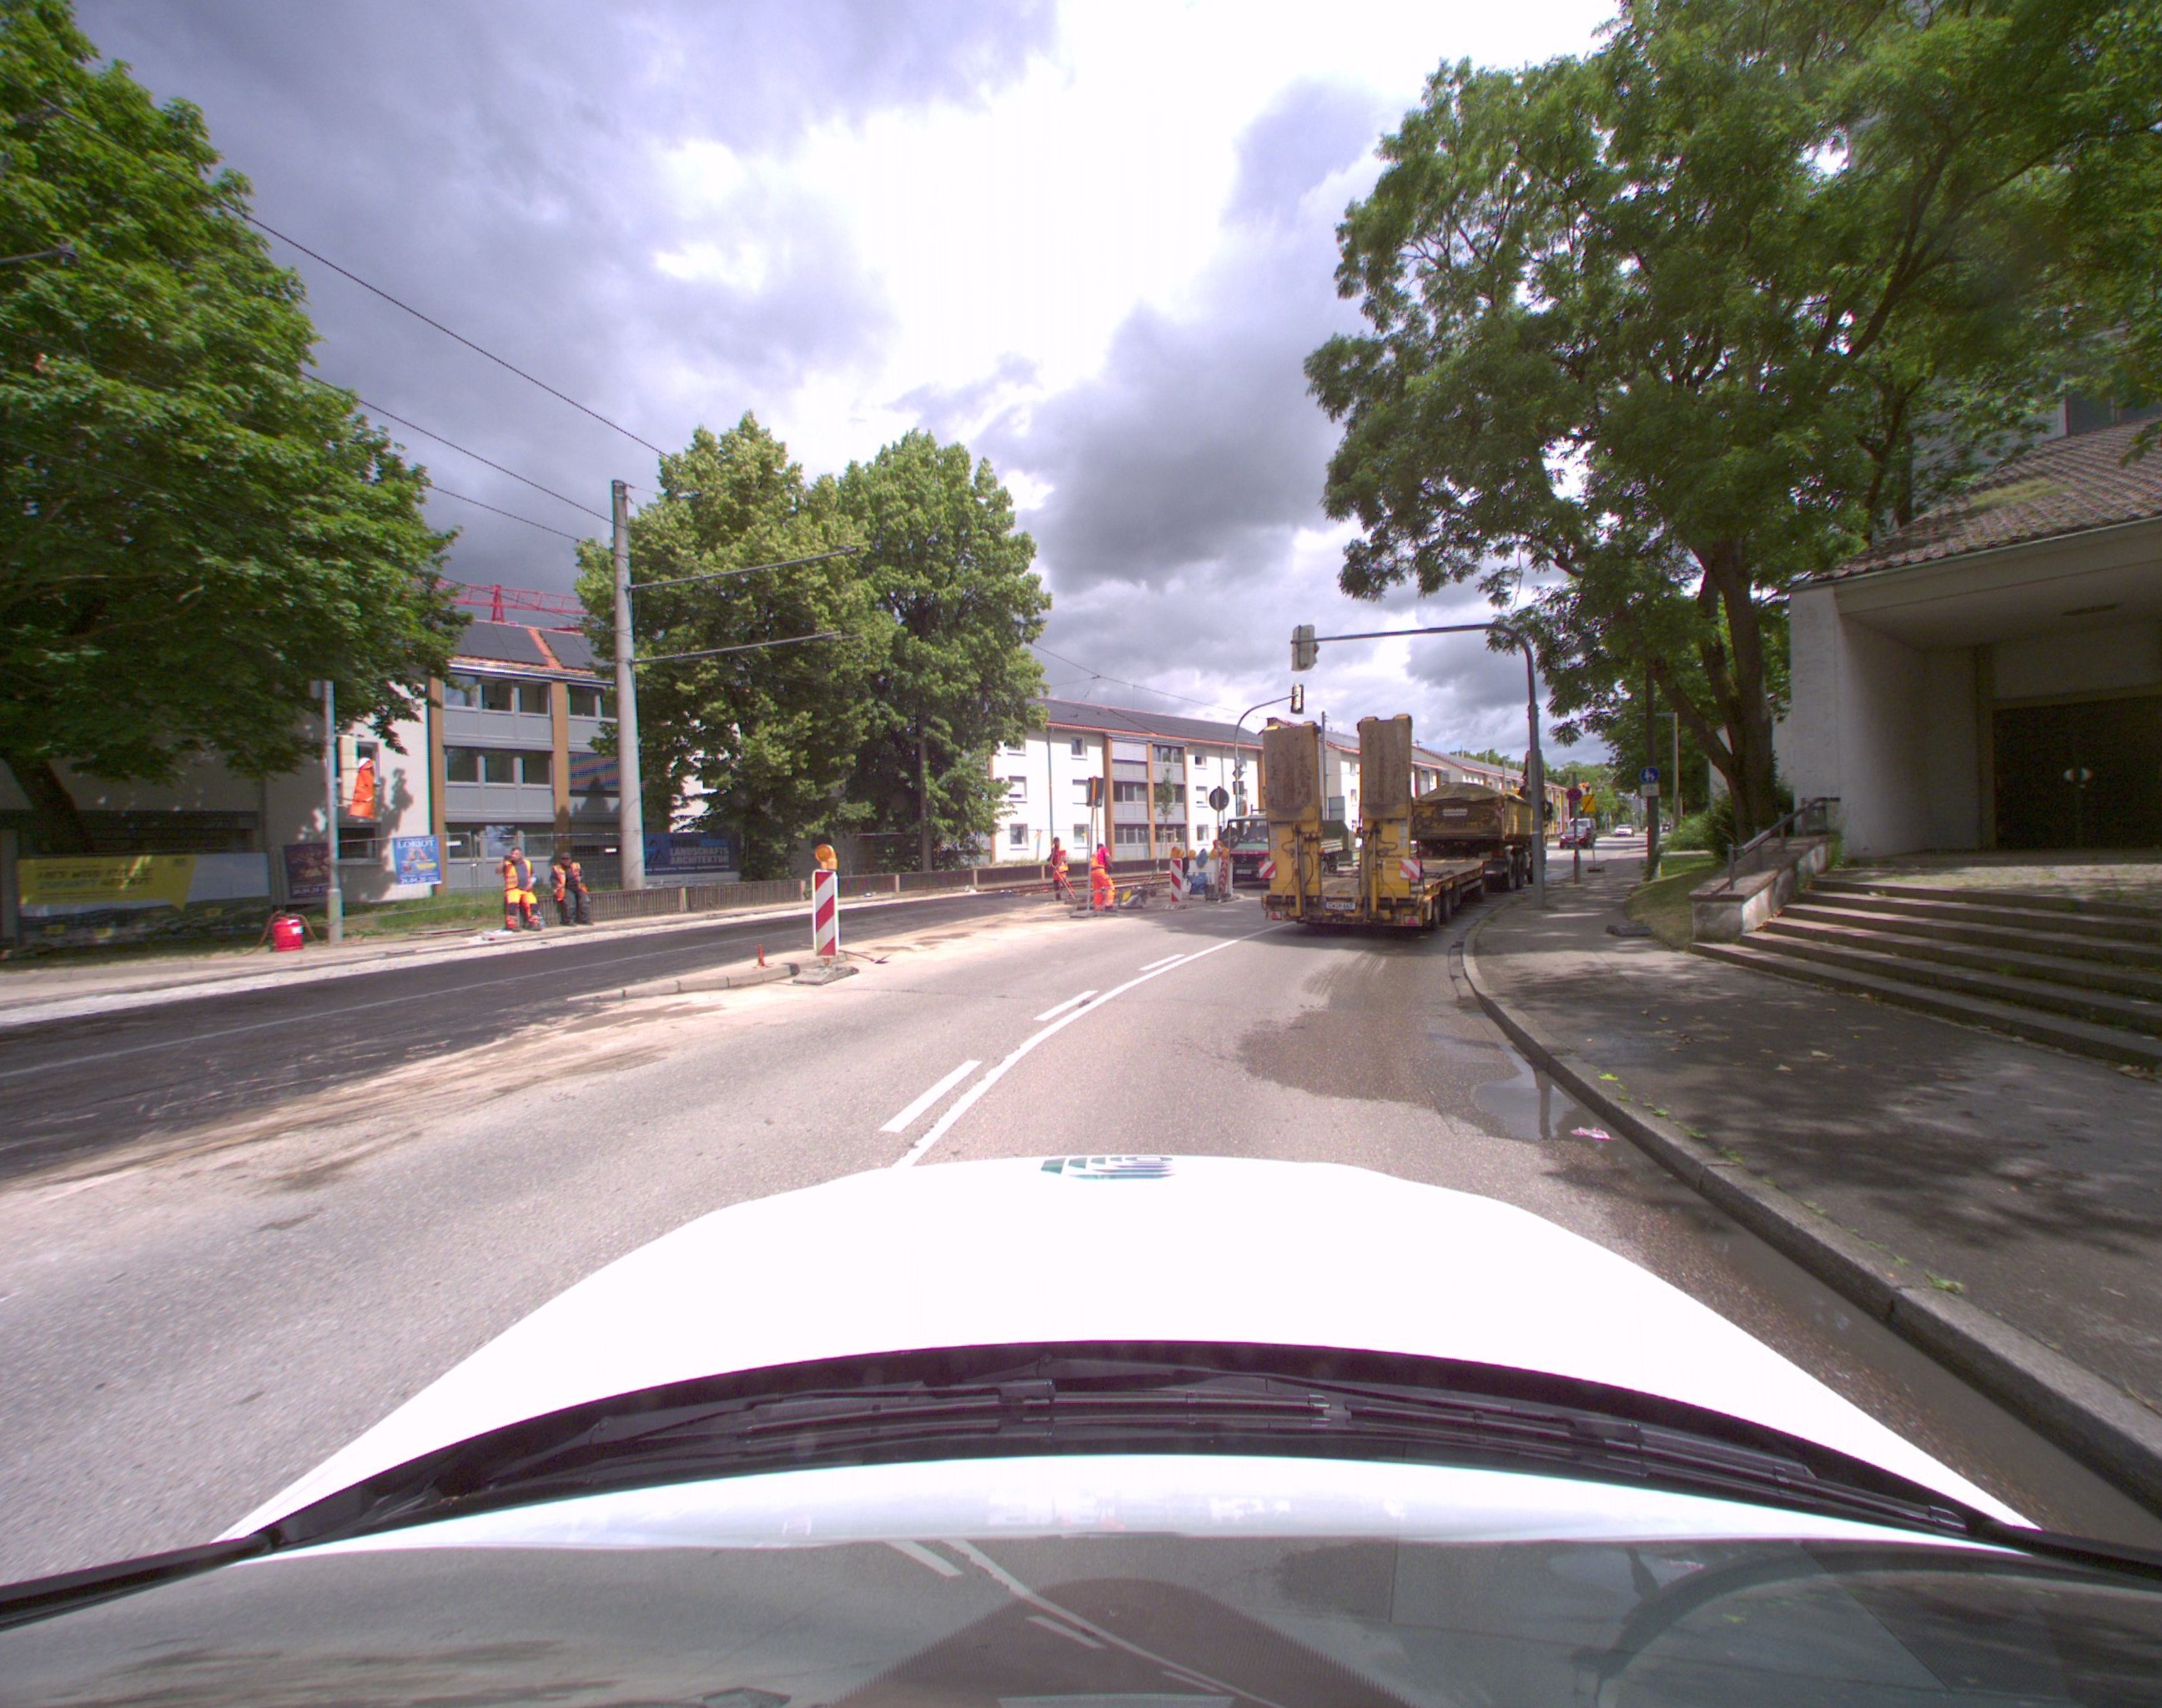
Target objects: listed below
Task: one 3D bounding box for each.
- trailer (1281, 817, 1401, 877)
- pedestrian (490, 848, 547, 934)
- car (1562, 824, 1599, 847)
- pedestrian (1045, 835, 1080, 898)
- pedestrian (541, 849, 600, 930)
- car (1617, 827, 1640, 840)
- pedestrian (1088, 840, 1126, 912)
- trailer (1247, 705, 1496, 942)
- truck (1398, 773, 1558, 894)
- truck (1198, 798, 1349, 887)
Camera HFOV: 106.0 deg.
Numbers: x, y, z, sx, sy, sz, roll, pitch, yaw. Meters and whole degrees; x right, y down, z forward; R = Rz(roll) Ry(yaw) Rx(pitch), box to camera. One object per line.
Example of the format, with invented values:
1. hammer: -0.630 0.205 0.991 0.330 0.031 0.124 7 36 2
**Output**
1. trailer: 10.739 -0.356 33.259 2.636 2.213 6.288 0 1 38
2. pedestrian: -10.533 0.674 15.274 0.765 1.541 0.790 -2 0 -30
3. car: 37.462 -1.373 61.086 1.825 1.618 4.269 -2 0 38
4. pedestrian: -0.497 0.342 21.896 0.699 1.668 0.831 -1 -2 16
5. pedestrian: -10.093 0.682 16.123 0.911 1.533 0.833 -2 0 -30
6. car: 68.318 -2.564 101.622 1.861 1.481 4.557 -3 0 40
7. pedestrian: 0.570 0.477 18.009 0.760 1.551 0.900 -1 -1 -2
8. trailer: 6.878 -0.556 17.573 2.795 3.523 11.122 0 1 32
9. truck: 12.536 -0.657 25.266 2.889 3.166 7.729 0 2 38
10. truck: 6.833 -0.435 28.244 2.636 2.725 6.437 0 1 38
